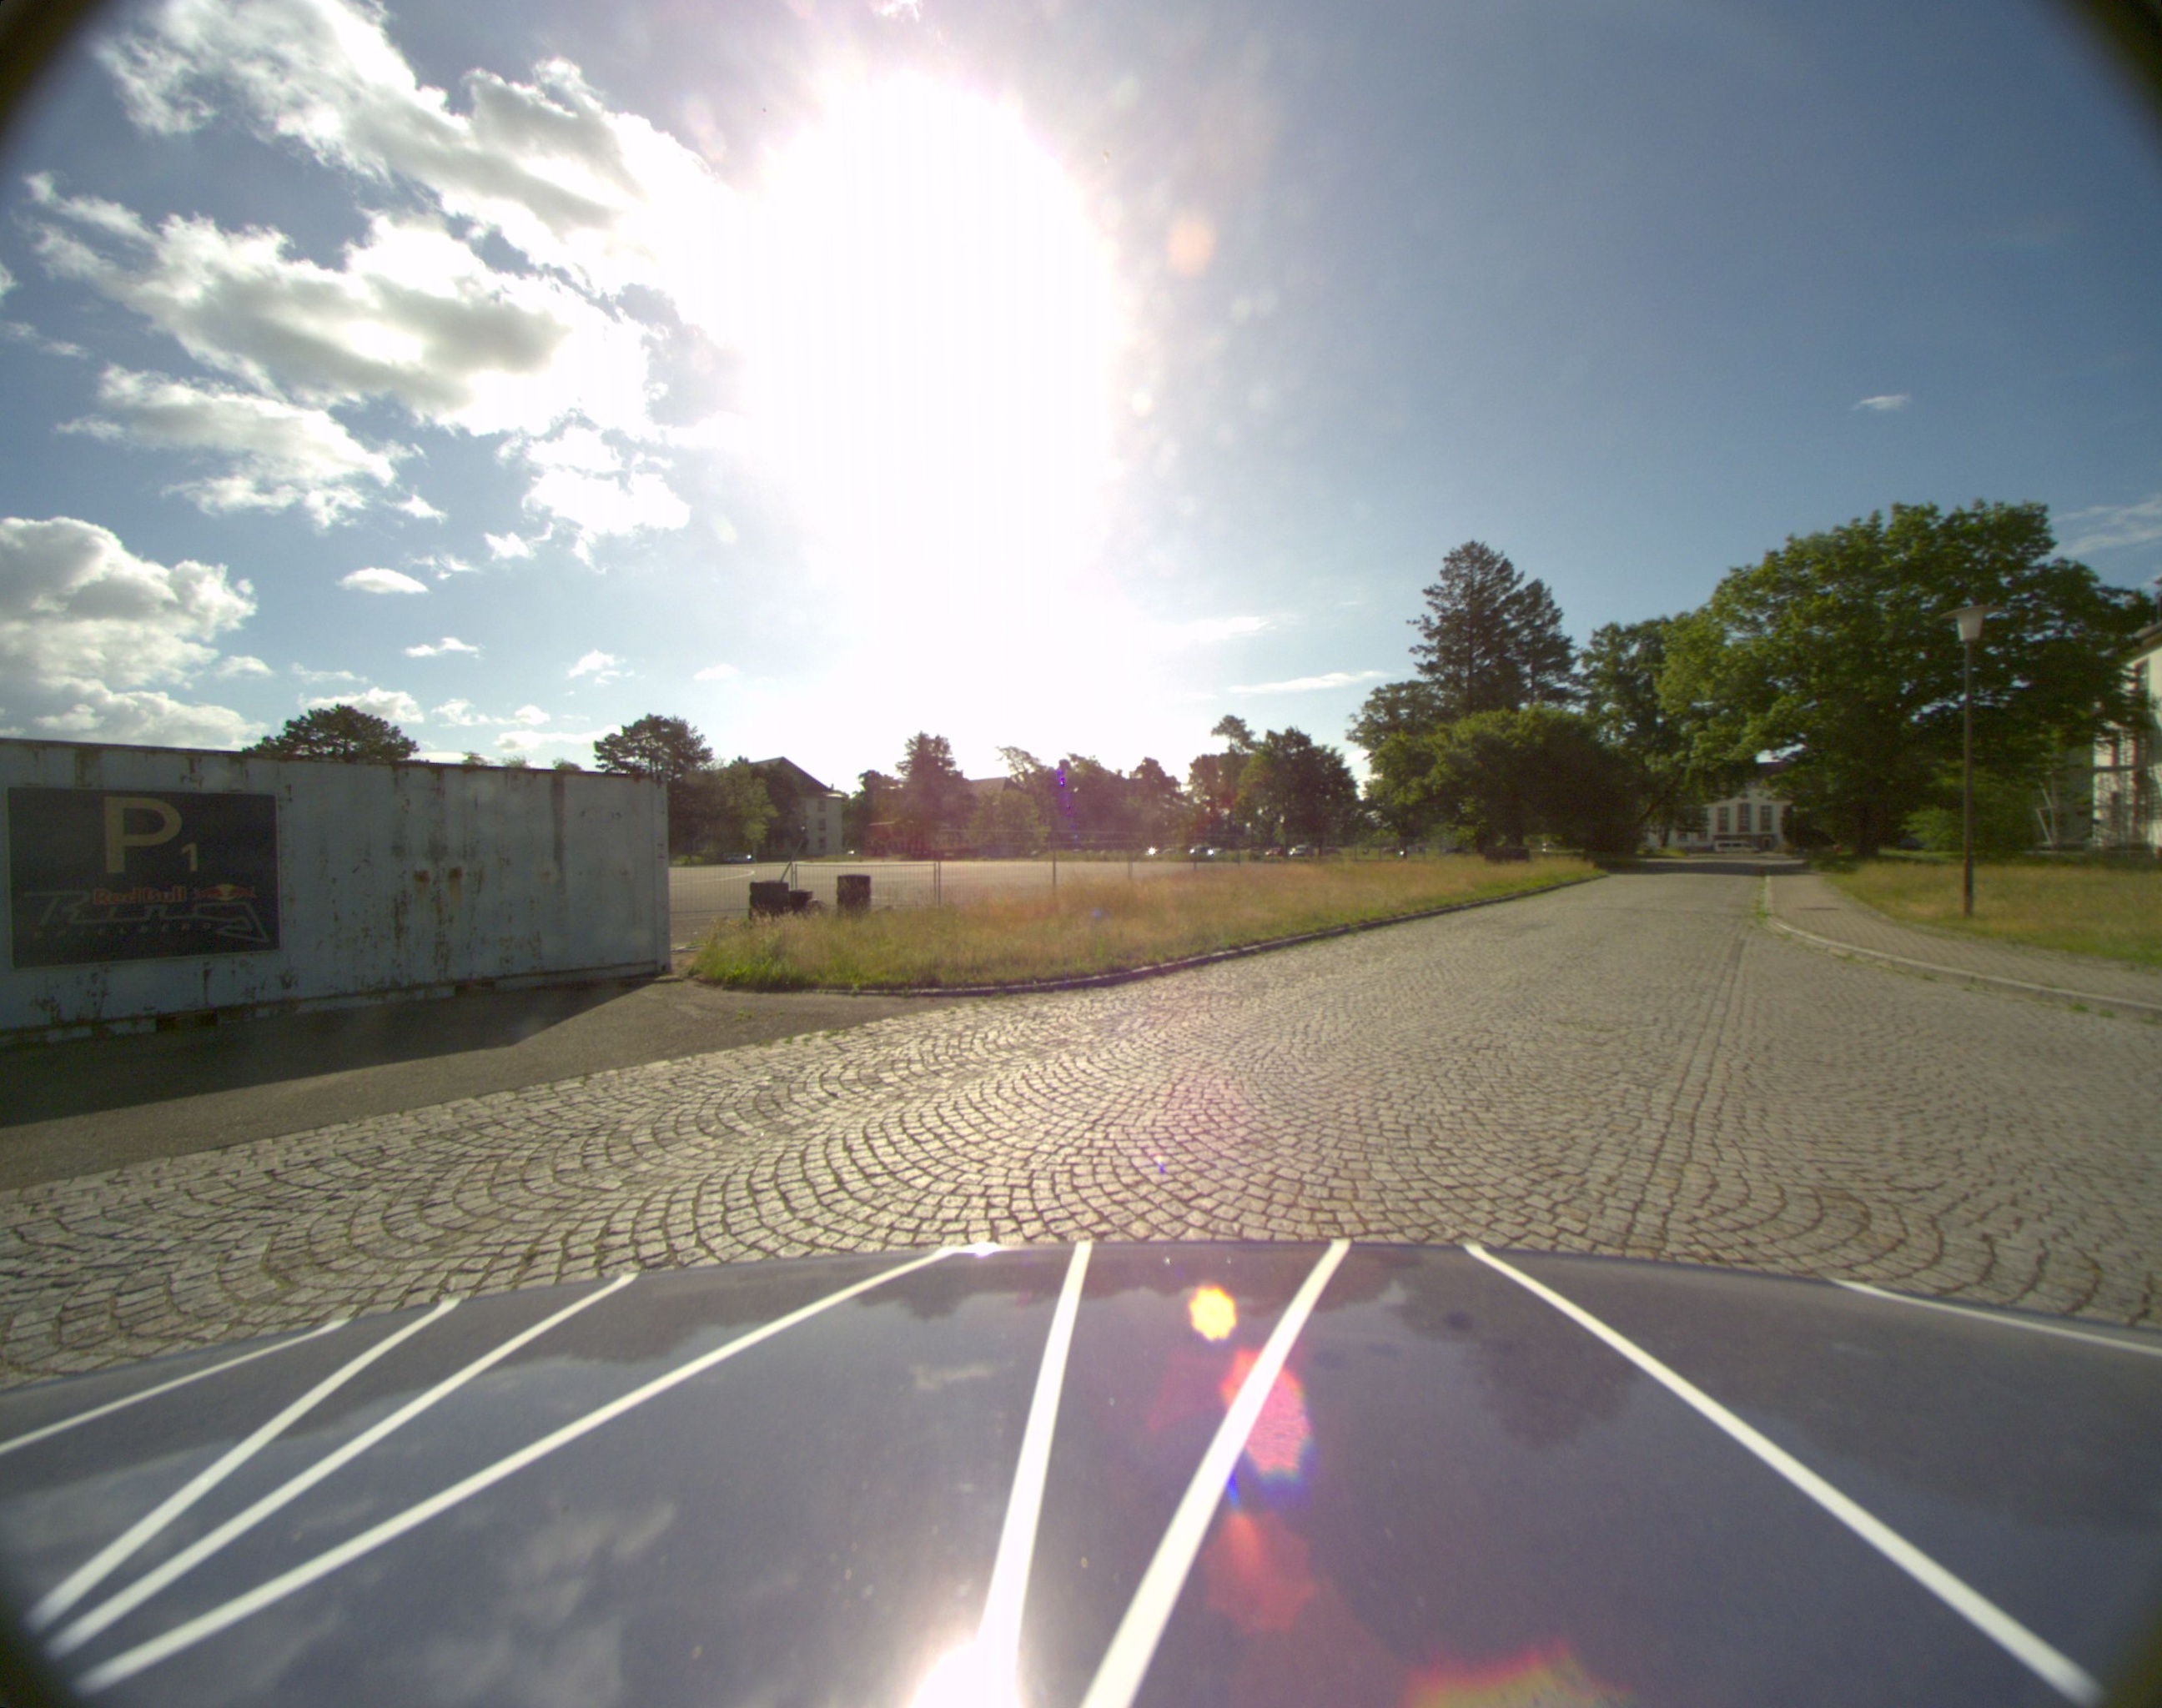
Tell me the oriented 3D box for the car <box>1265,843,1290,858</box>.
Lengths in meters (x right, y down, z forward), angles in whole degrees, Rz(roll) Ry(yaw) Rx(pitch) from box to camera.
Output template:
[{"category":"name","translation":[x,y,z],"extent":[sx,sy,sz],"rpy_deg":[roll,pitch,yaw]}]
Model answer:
[{"category":"car","translation":[26.395,-0.502,102.137],"extent":[1.738,2.002,3.627],"rpy_deg":[1,2,41]}]

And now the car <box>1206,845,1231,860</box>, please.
[{"category":"car","translation":[19.471,-0.248,107.888],"extent":[1.738,2.002,3.859],"rpy_deg":[1,2,41]}]

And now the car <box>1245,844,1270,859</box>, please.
[{"category":"car","translation":[24.100,-0.415,103.771],"extent":[1.738,2.002,3.627],"rpy_deg":[1,2,41]}]

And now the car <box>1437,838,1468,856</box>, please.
[{"category":"car","translation":[42.561,-0.799,86.954],"extent":[2.241,2.002,4.358],"rpy_deg":[0,1,39]}]

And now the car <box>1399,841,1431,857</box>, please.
[{"category":"car","translation":[39.573,-0.612,90.014],"extent":[2.241,1.828,4.358],"rpy_deg":[1,1,43]}]

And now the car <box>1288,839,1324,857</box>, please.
[{"category":"car","translation":[29.689,-0.797,100.175],"extent":[1.994,2.002,6.045],"rpy_deg":[-2,1,42]}]

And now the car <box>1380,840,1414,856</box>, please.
[{"category":"car","translation":[38.372,-0.765,92.203],"extent":[4.358,1.828,2.241],"rpy_deg":[-1,2,-44]}]

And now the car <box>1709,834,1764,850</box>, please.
[{"category":"car","translation":[102.496,-1.809,118.827],"extent":[6.431,2.452,2.468],"rpy_deg":[0,2,43]}]

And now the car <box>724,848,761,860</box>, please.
[{"category":"car","translation":[-45.027,-0.049,101.089],"extent":[1.994,1.573,4.008],"rpy_deg":[0,1,38]}]

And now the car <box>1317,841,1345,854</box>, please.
[{"category":"car","translation":[32.019,-0.799,97.123],"extent":[1.994,1.642,4.008],"rpy_deg":[1,1,41]}]

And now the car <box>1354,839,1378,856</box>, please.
[{"category":"car","translation":[35.662,-0.846,95.031],"extent":[1.738,2.002,3.627],"rpy_deg":[1,2,41]}]

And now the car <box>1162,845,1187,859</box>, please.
[{"category":"car","translation":[13.924,-0.352,113.317],"extent":[1.738,2.002,3.859],"rpy_deg":[1,2,44]}]
